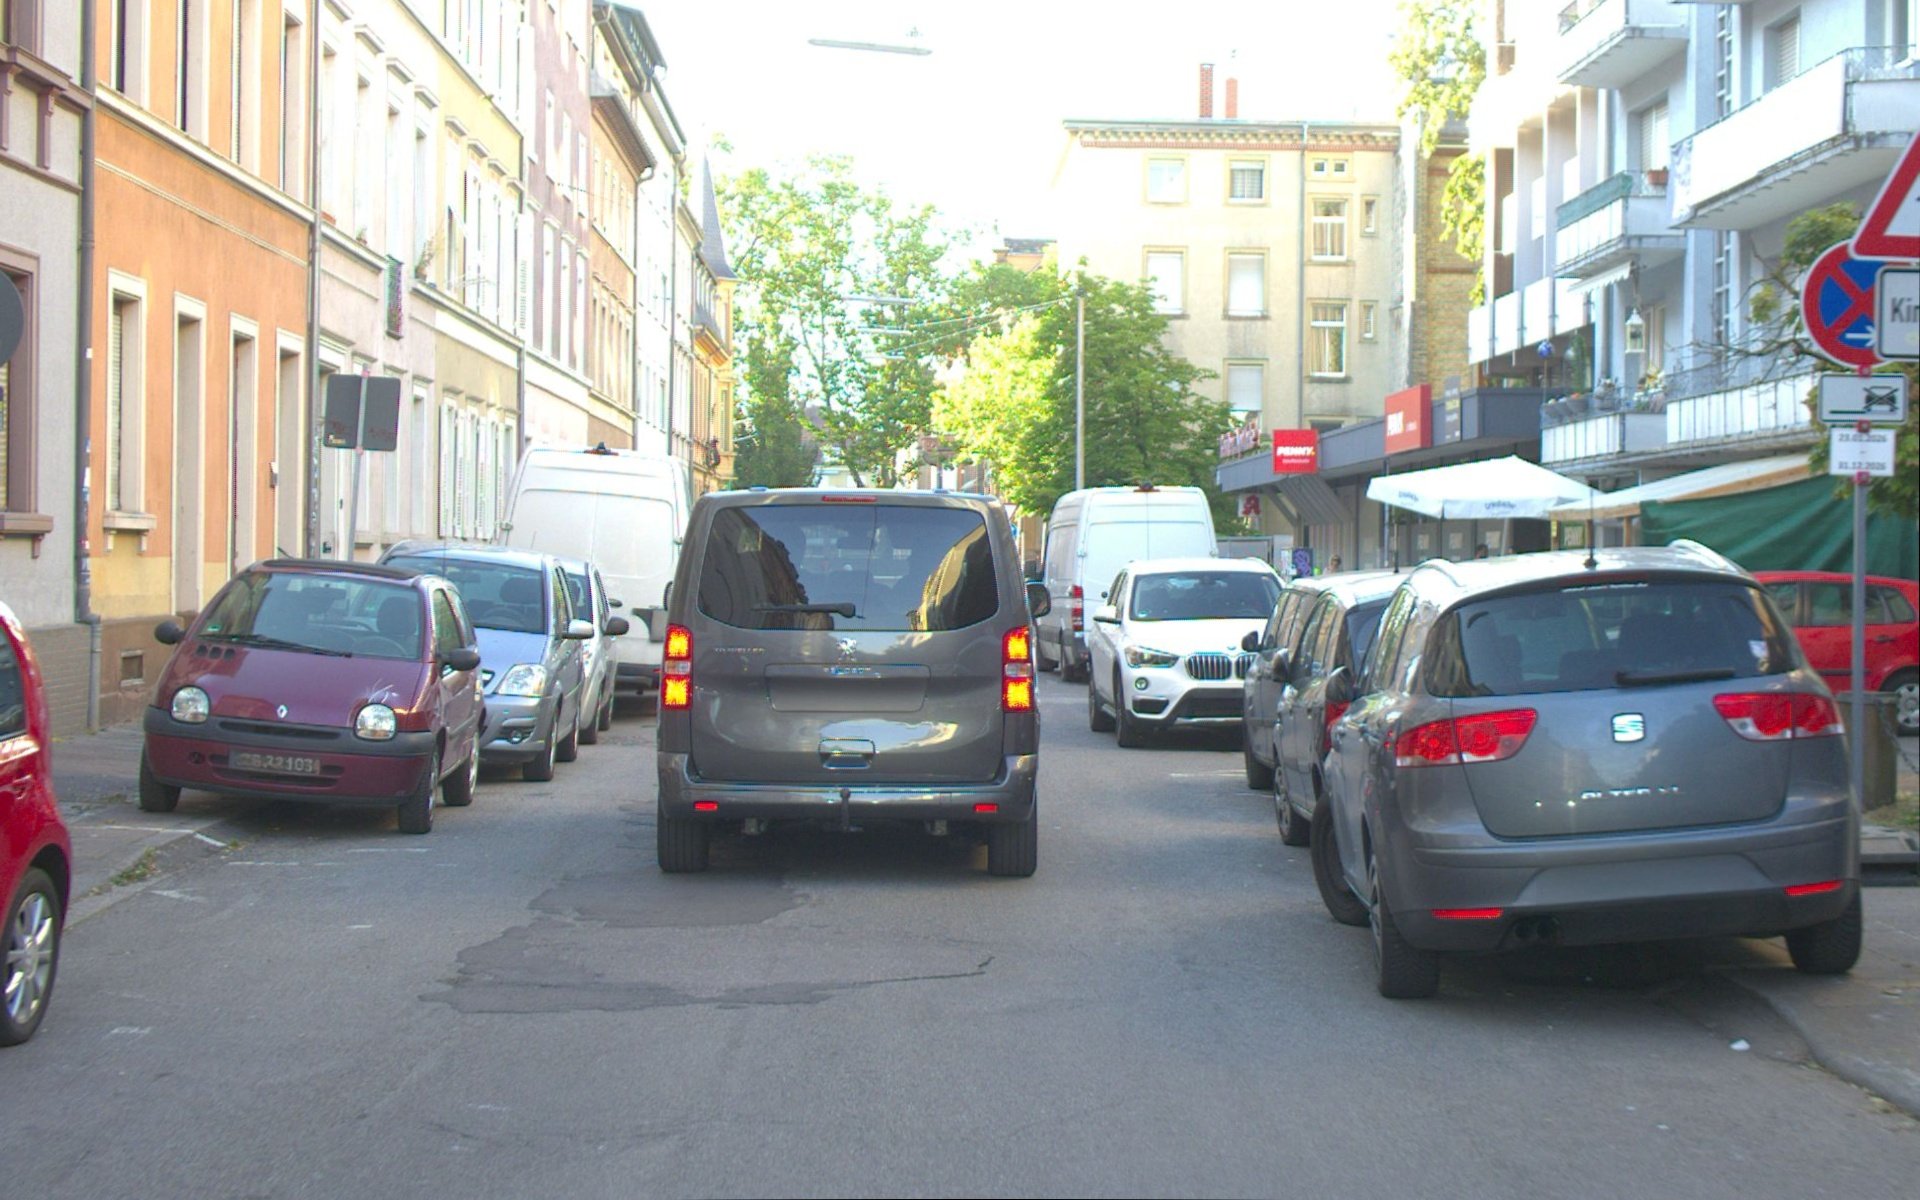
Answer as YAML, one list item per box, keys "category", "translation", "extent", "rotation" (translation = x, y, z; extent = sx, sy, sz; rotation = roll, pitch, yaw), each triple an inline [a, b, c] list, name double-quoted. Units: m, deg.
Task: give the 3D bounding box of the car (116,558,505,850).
- category: "car"
  translation: [-3.686, 0.541, 20.016]
  extent: [1.657, 1.443, 3.286]
  rotation: [4, 0, -2]

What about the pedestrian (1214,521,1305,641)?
- category: "pedestrian"
  translation: [3.962, -0.255, 45.511]
  extent: [0.870, 1.550, 0.876]
  rotation: [-2, 1, -23]

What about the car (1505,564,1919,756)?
- category: "car"
  translation: [7.177, 0.543, 31.864]
  extent: [3.895, 1.602, 1.694]
  rotation: [2, 0, -2]

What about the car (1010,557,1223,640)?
- category: "car"
  translation: [3.595, -0.043, 79.342]
  extent: [4.568, 1.786, 2.001]
  rotation: [1, 1, -8]

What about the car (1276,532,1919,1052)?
- category: "car"
  translation: [2.333, 0.612, 13.737]
  extent: [1.749, 1.677, 4.525]
  rotation: [2, 1, 1]

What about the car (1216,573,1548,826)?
- category: "car"
  translation: [2.702, 0.583, 22.816]
  extent: [1.620, 1.481, 4.125]
  rotation: [-1, 1, -1]

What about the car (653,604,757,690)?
- category: "car"
  translation: [-4.660, 0.838, 62.917]
  extent: [1.788, 1.393, 4.468]
  rotation: [2, 1, -4]

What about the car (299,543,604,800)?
- category: "car"
  translation: [-3.651, 0.457, 25.272]
  extent: [1.711, 1.638, 3.980]
  rotation: [3, 1, -2]

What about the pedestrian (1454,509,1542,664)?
- category: "pedestrian"
  translation: [7.513, -0.196, 48.043]
  extent: [0.872, 2.137, 0.956]
  rotation: [0, 0, -17]

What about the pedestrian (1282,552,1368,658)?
- category: "pedestrian"
  translation: [5.981, 0.067, 56.365]
  extent: [0.932, 1.714, 1.063]
  rotation: [-1, 1, -35]

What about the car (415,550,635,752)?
- category: "car"
  translation: [-3.864, 0.413, 31.007]
  extent: [1.590, 1.680, 3.653]
  rotation: [1, 1, -2]

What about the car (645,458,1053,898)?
- category: "car"
  translation: [-0.574, 0.331, 17.909]
  extent: [1.857, 2.007, 4.000]
  rotation: [-1, 1, -2]

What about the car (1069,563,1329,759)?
- category: "car"
  translation: [2.067, 0.490, 30.979]
  extent: [1.722, 1.606, 4.589]
  rotation: [1, 0, -4]

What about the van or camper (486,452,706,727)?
- category: "van or camper"
  translation: [-3.767, -0.140, 36.673]
  extent: [1.949, 2.640, 7.142]
  rotation: [0, 1, -3]

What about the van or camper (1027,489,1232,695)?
- category: "van or camper"
  translation: [2.212, -0.142, 47.098]
  extent: [2.099, 2.593, 7.513]
  rotation: [0, 1, -3]

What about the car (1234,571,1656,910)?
- category: "car"
  translation: [2.451, 0.651, 18.165]
  extent: [1.622, 1.552, 3.694]
  rotation: [1, 1, -1]

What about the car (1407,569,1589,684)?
- category: "car"
  translation: [6.944, 0.312, 44.173]
  extent: [1.602, 1.411, 3.225]
  rotation: [0, 1, 22]

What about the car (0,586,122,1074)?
- category: "car"
  translation: [-3.808, 0.660, 9.677]
  extent: [1.669, 1.480, 3.605]
  rotation: [6, 1, 4]
